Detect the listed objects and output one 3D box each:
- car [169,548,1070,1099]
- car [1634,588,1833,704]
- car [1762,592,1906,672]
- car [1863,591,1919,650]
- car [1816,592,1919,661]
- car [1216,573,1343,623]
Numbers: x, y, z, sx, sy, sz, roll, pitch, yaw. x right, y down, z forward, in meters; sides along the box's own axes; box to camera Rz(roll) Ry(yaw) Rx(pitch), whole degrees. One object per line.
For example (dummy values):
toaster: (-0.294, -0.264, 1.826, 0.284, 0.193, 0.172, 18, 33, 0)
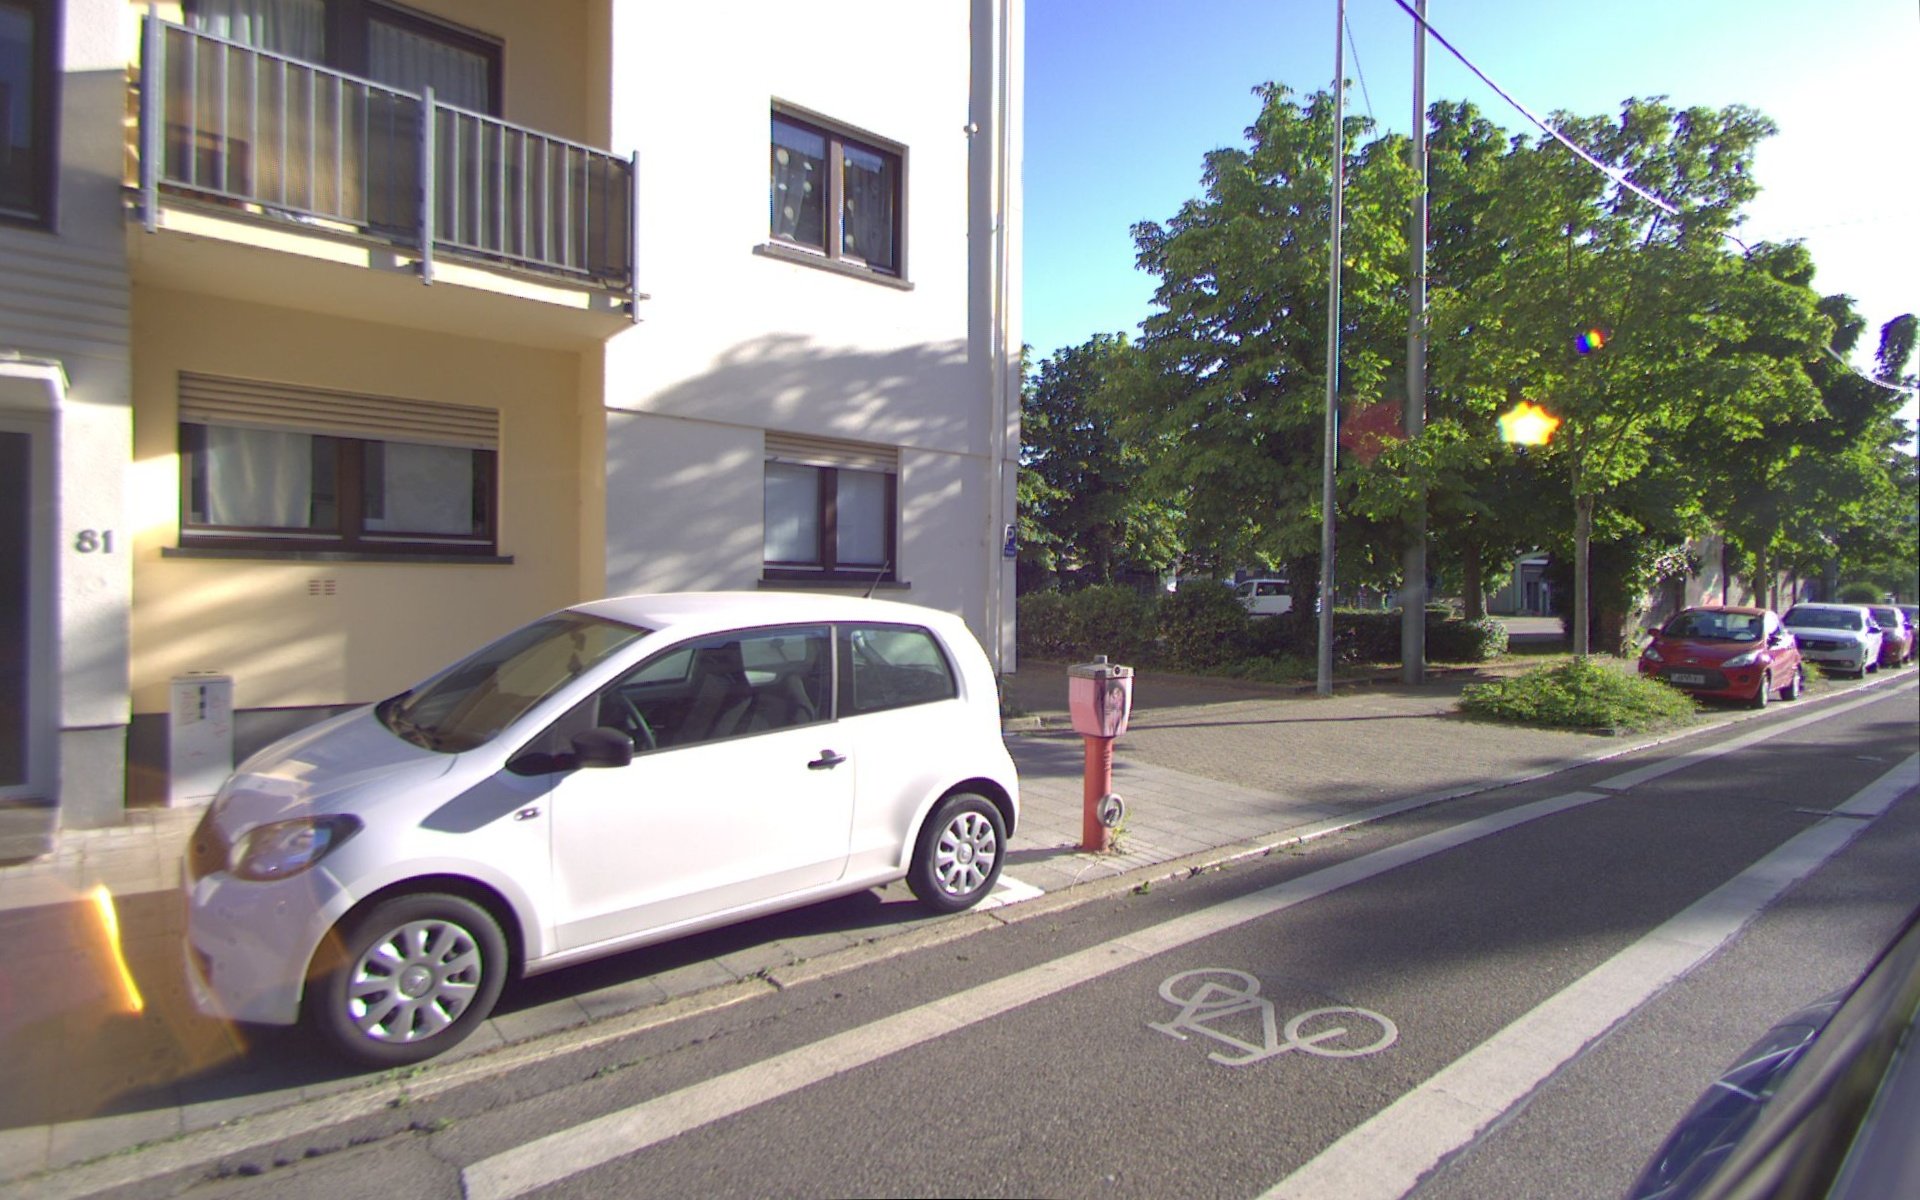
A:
car: (-1.319, 0.606, 4.615, 3.567, 1.561, 1.557, 0, 2, -40)
car: (12.666, 0.647, 16.476, 4.398, 1.590, 1.612, 0, 2, -40)
car: (19.822, 0.646, 22.893, 4.400, 1.590, 1.828, 0, 2, -41)
car: (28.012, 0.567, 29.571, 4.400, 1.590, 1.828, 0, 2, -41)
car: (23.961, 0.629, 26.382, 4.400, 1.590, 1.828, 0, 2, -41)
car: (12.977, -0.097, 41.403, 1.935, 1.949, 4.724, 0, 0, -37)
